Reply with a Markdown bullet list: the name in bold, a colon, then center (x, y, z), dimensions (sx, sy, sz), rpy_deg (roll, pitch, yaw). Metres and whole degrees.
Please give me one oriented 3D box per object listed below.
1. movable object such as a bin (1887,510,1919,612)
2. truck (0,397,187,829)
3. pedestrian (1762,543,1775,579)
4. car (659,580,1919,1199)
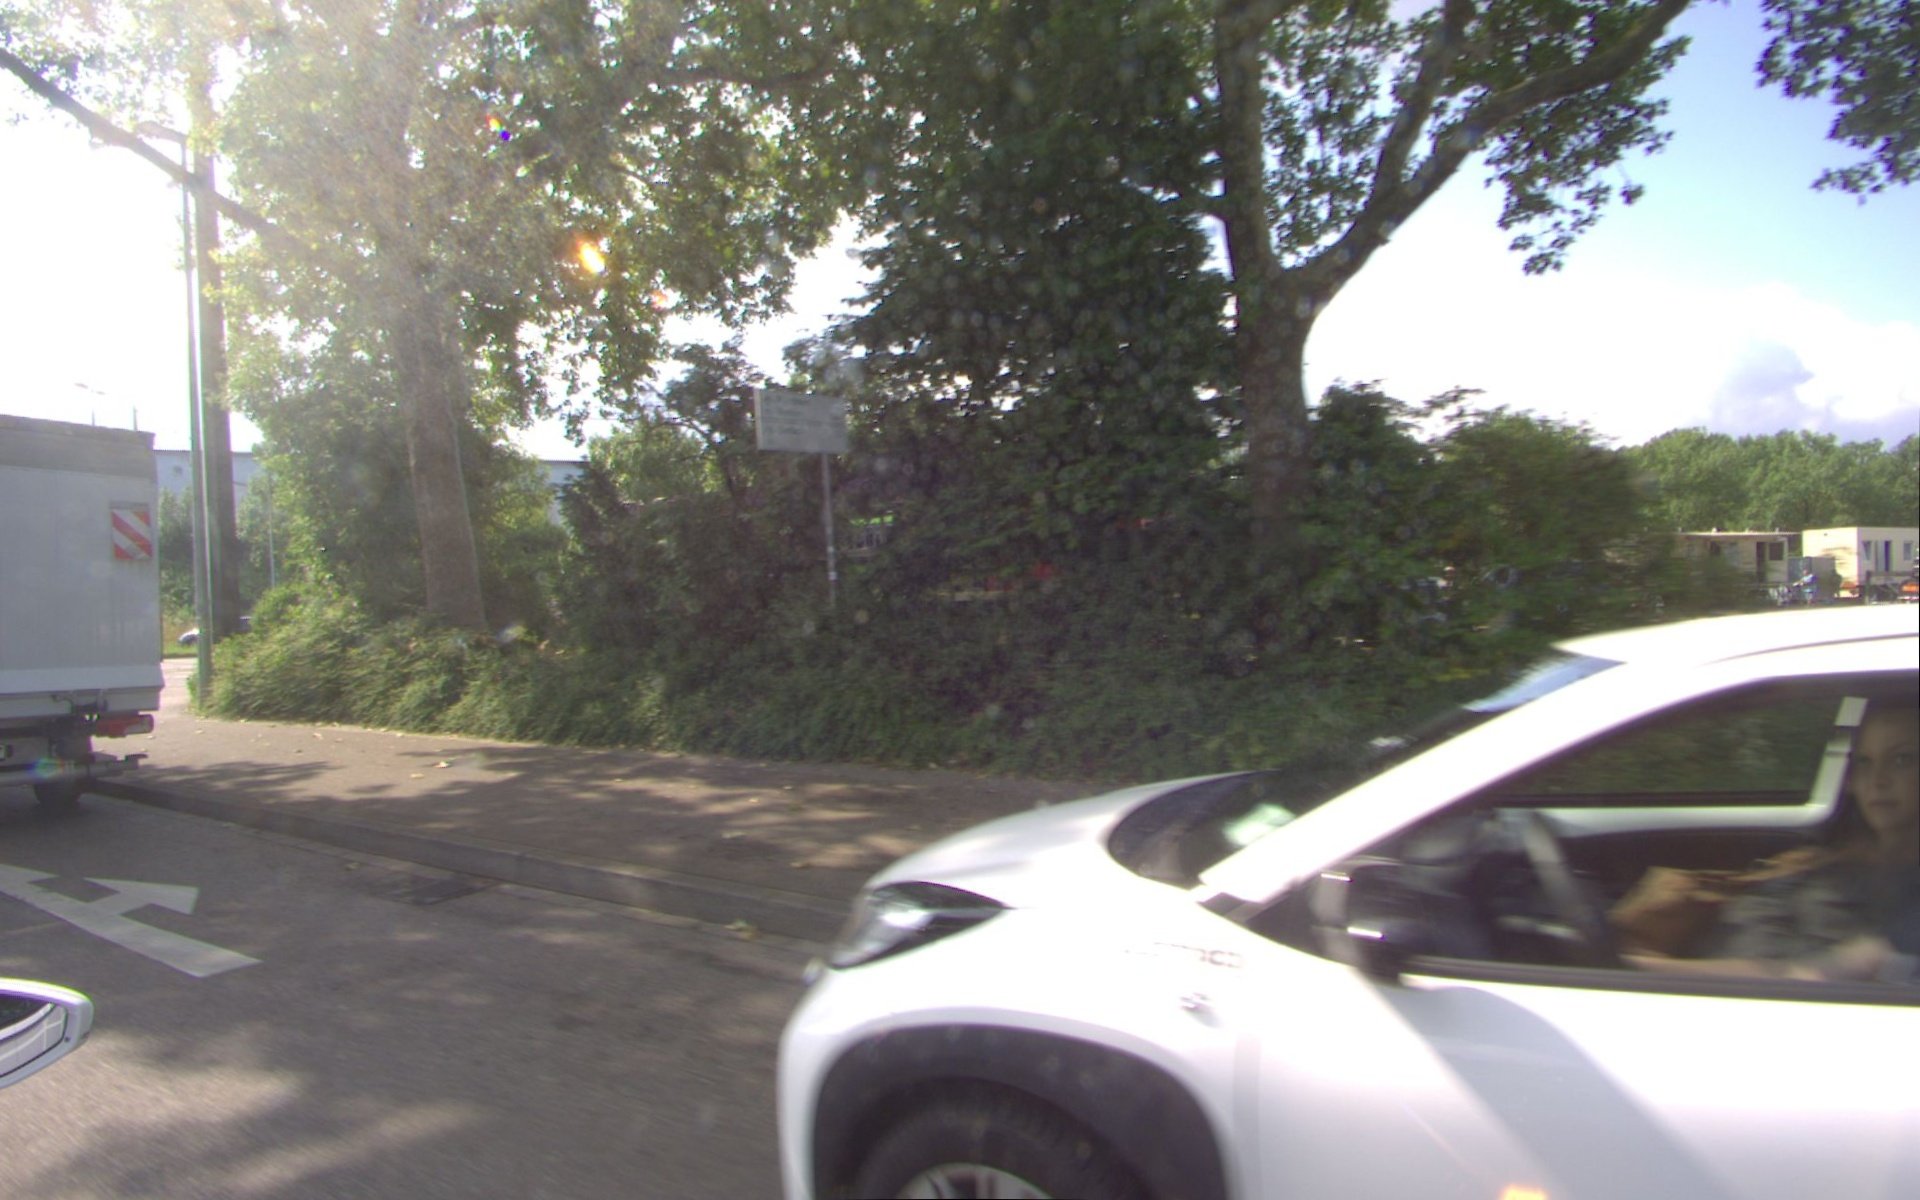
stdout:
- **movable object such as a bin**: center (35.679, -1.377, 34.161), dimensions (7.295, 3.418, 2.711), rpy_deg (-1, 1, -18)
- **truck**: center (-9.540, 0.158, 8.936), dimensions (5.945, 3.161, 2.441), rpy_deg (-1, -1, 34)
- **pedestrian**: center (39.456, -1.908, 48.863), dimensions (0.422, 1.705, 0.256), rpy_deg (0, -1, 14)
- **car**: center (1.450, 0.745, 1.838), dimensions (3.742, 1.498, 1.743), rpy_deg (-2, -2, 29)
